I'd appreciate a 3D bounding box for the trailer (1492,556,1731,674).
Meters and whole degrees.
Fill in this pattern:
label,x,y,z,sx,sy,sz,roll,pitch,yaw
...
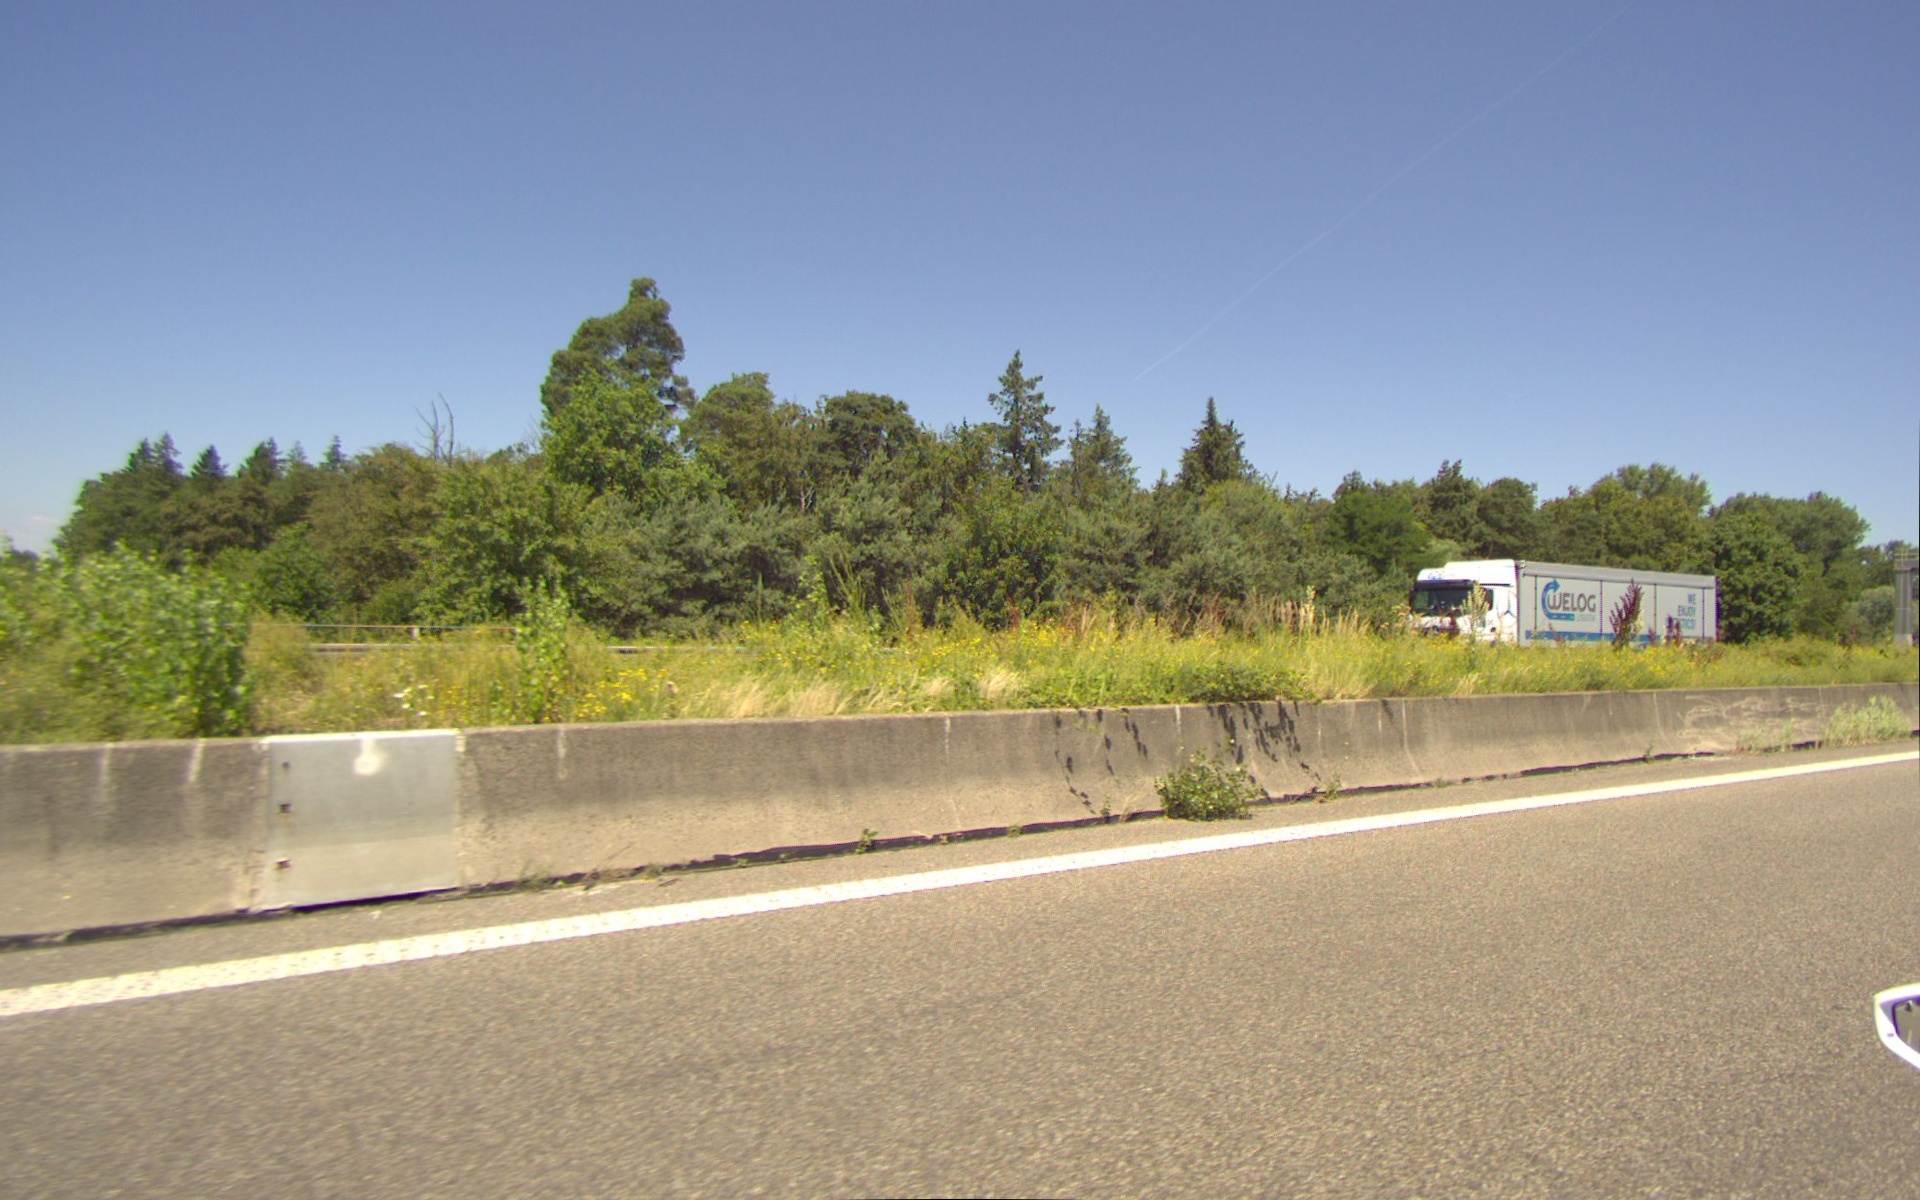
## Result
label,x,y,z,sx,sy,sz,roll,pitch,yaw
trailer,25.603,0.677,39.172,11.637,4.130,2.970,2,-1,-31

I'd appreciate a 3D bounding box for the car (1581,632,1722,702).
label,x,y,z,sx,sy,sz,roll,pitch,yaw
car,22.047,2.083,32.013,4.534,2.040,1.984,2,-1,-30

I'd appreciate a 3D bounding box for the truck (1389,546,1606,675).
label,x,y,z,sx,sy,sz,roll,pitch,yaw
truck,18.983,0.444,35.322,8.098,4.130,2.970,2,-1,-31
